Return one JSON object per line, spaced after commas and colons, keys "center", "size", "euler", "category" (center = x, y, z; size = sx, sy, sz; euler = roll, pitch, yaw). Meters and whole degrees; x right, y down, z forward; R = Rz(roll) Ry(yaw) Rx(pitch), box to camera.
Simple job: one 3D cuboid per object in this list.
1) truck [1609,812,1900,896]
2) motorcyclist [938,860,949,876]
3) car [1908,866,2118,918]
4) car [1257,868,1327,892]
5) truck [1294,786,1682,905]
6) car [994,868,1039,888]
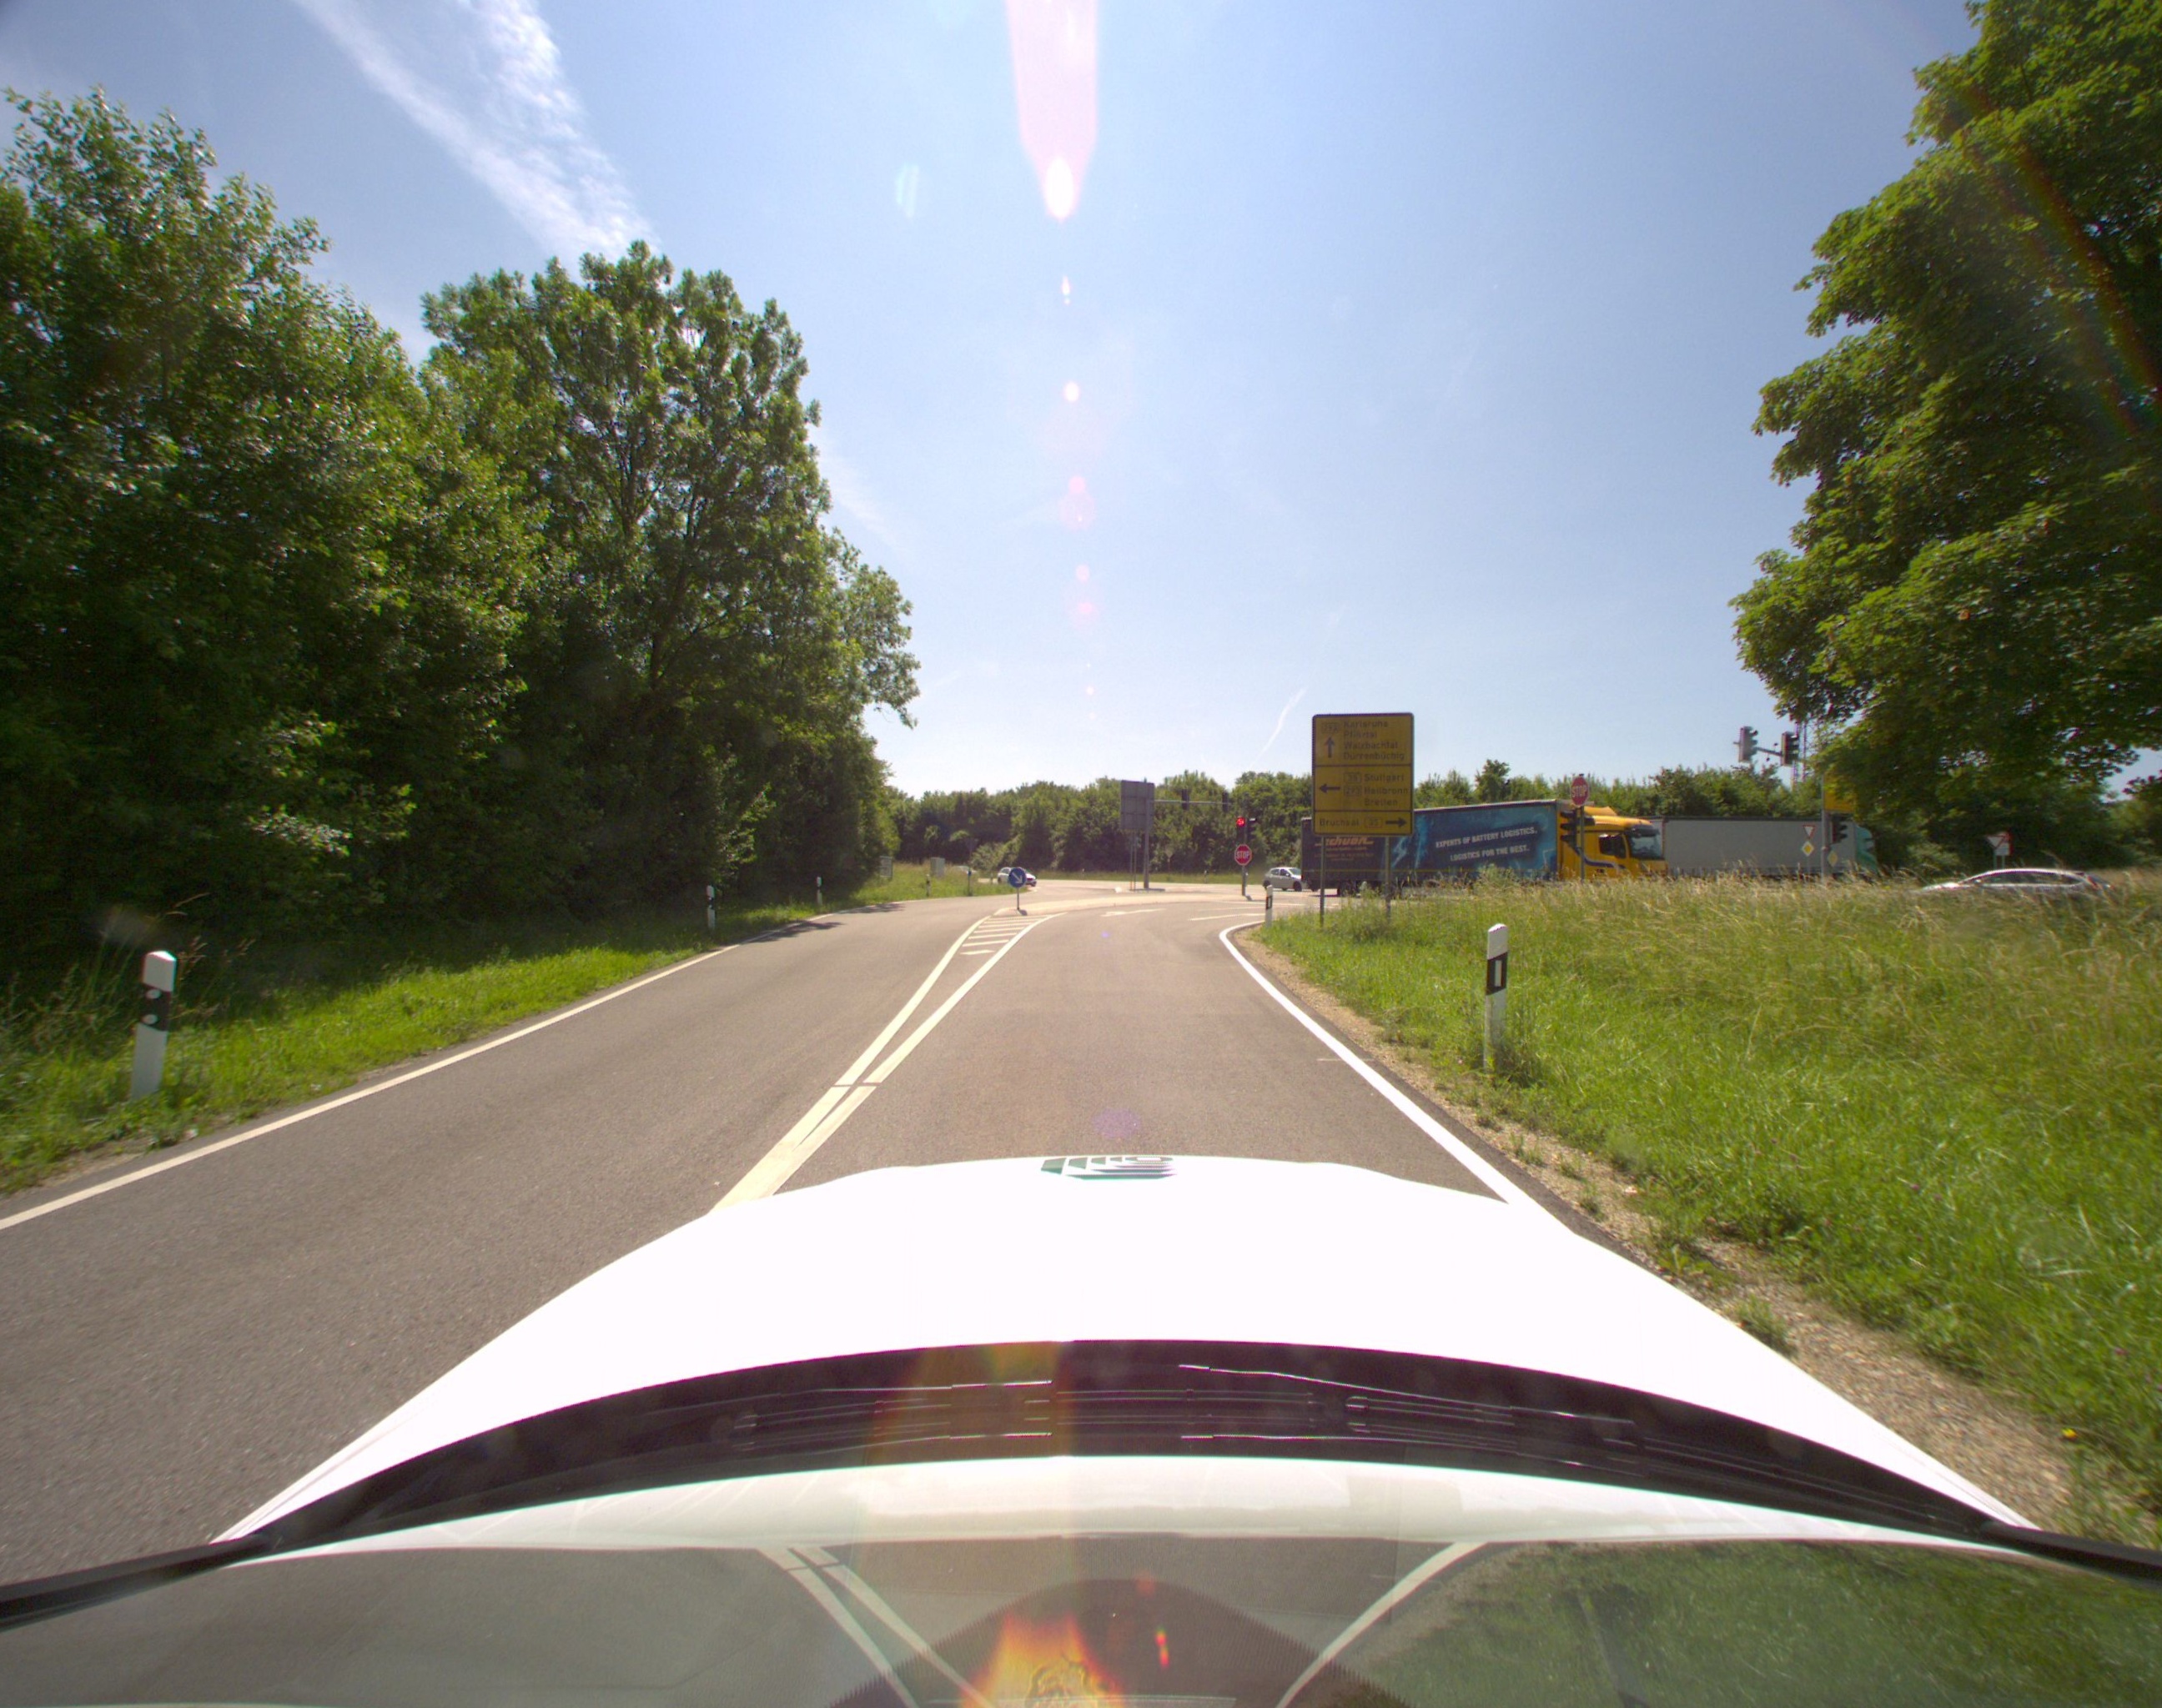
{"center": [36.655, -0.059, 44.155], "size": [16.661, 4.173, 3.119], "euler": [-1, -1, -15], "category": "truck"}
{"center": [-16.084, 1.650, 95.357], "size": [0.844, 1.843, 0.888], "euler": [-1, -2, -43], "category": "motorcyclist"}
{"center": [29.712, 1.145, 26.127], "size": [1.733, 1.470, 4.135], "euler": [-1, 0, -26], "category": "car"}
{"center": [12.656, 1.539, 49.014], "size": [1.826, 1.413, 3.743], "euler": [0, -1, -35], "category": "car"}
{"center": [16.499, -0.200, 36.139], "size": [2.860, 4.131, 16.652], "euler": [1, -1, -29], "category": "truck"}
{"center": [-4.980, 1.802, 62.462], "size": [1.812, 1.412, 5.292], "euler": [1, -1, -23], "category": "car"}
